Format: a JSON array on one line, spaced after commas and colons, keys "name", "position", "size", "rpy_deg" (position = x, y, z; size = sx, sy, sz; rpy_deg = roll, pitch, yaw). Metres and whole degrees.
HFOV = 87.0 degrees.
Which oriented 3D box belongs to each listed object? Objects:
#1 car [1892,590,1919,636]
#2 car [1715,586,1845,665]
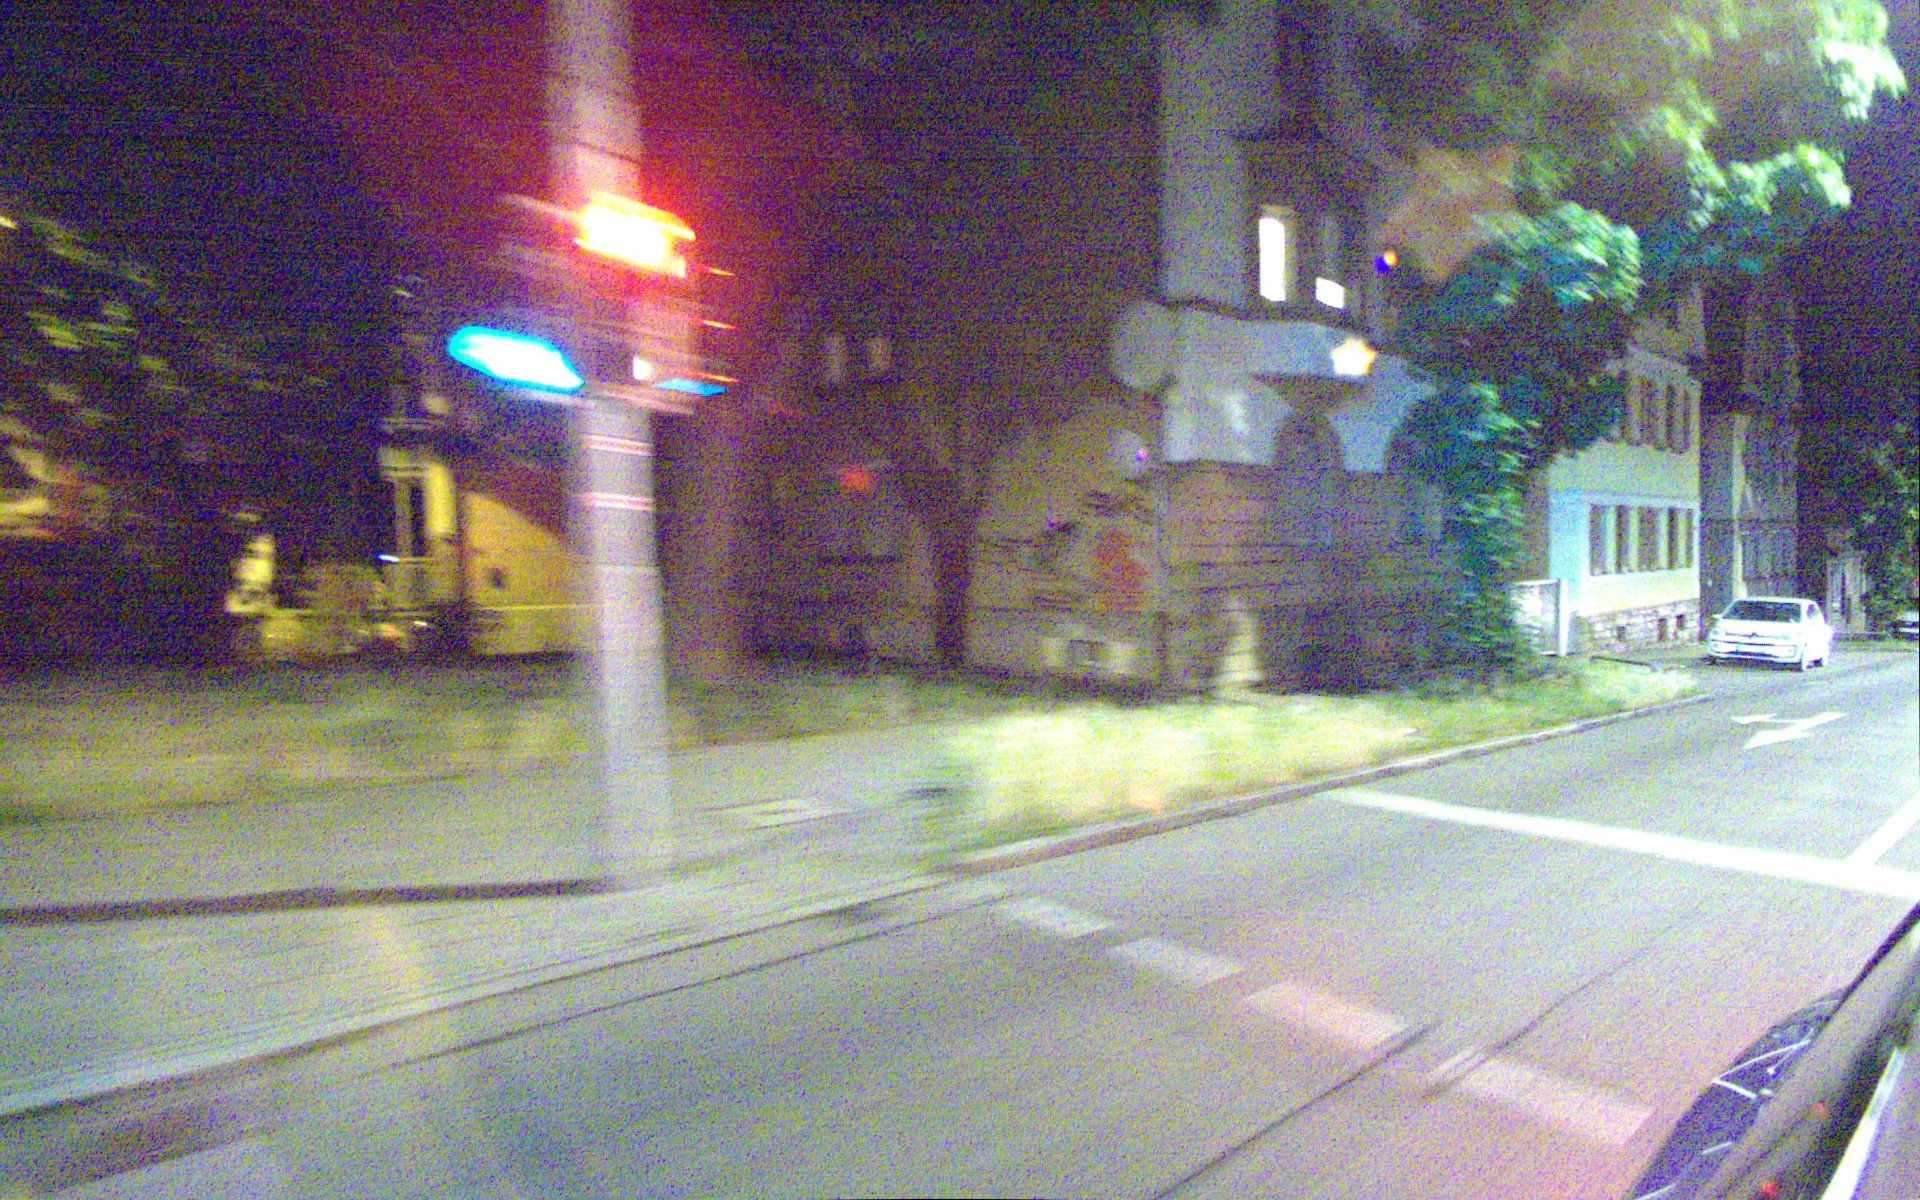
[{"name": "car", "position": [31.909, 0.433, 33.156], "size": [3.347, 1.433, 1.536], "rpy_deg": [0, 2, -39]}, {"name": "car", "position": [17.504, 0.484, 21.560], "size": [3.350, 1.512, 1.625], "rpy_deg": [0, 2, -42]}]
